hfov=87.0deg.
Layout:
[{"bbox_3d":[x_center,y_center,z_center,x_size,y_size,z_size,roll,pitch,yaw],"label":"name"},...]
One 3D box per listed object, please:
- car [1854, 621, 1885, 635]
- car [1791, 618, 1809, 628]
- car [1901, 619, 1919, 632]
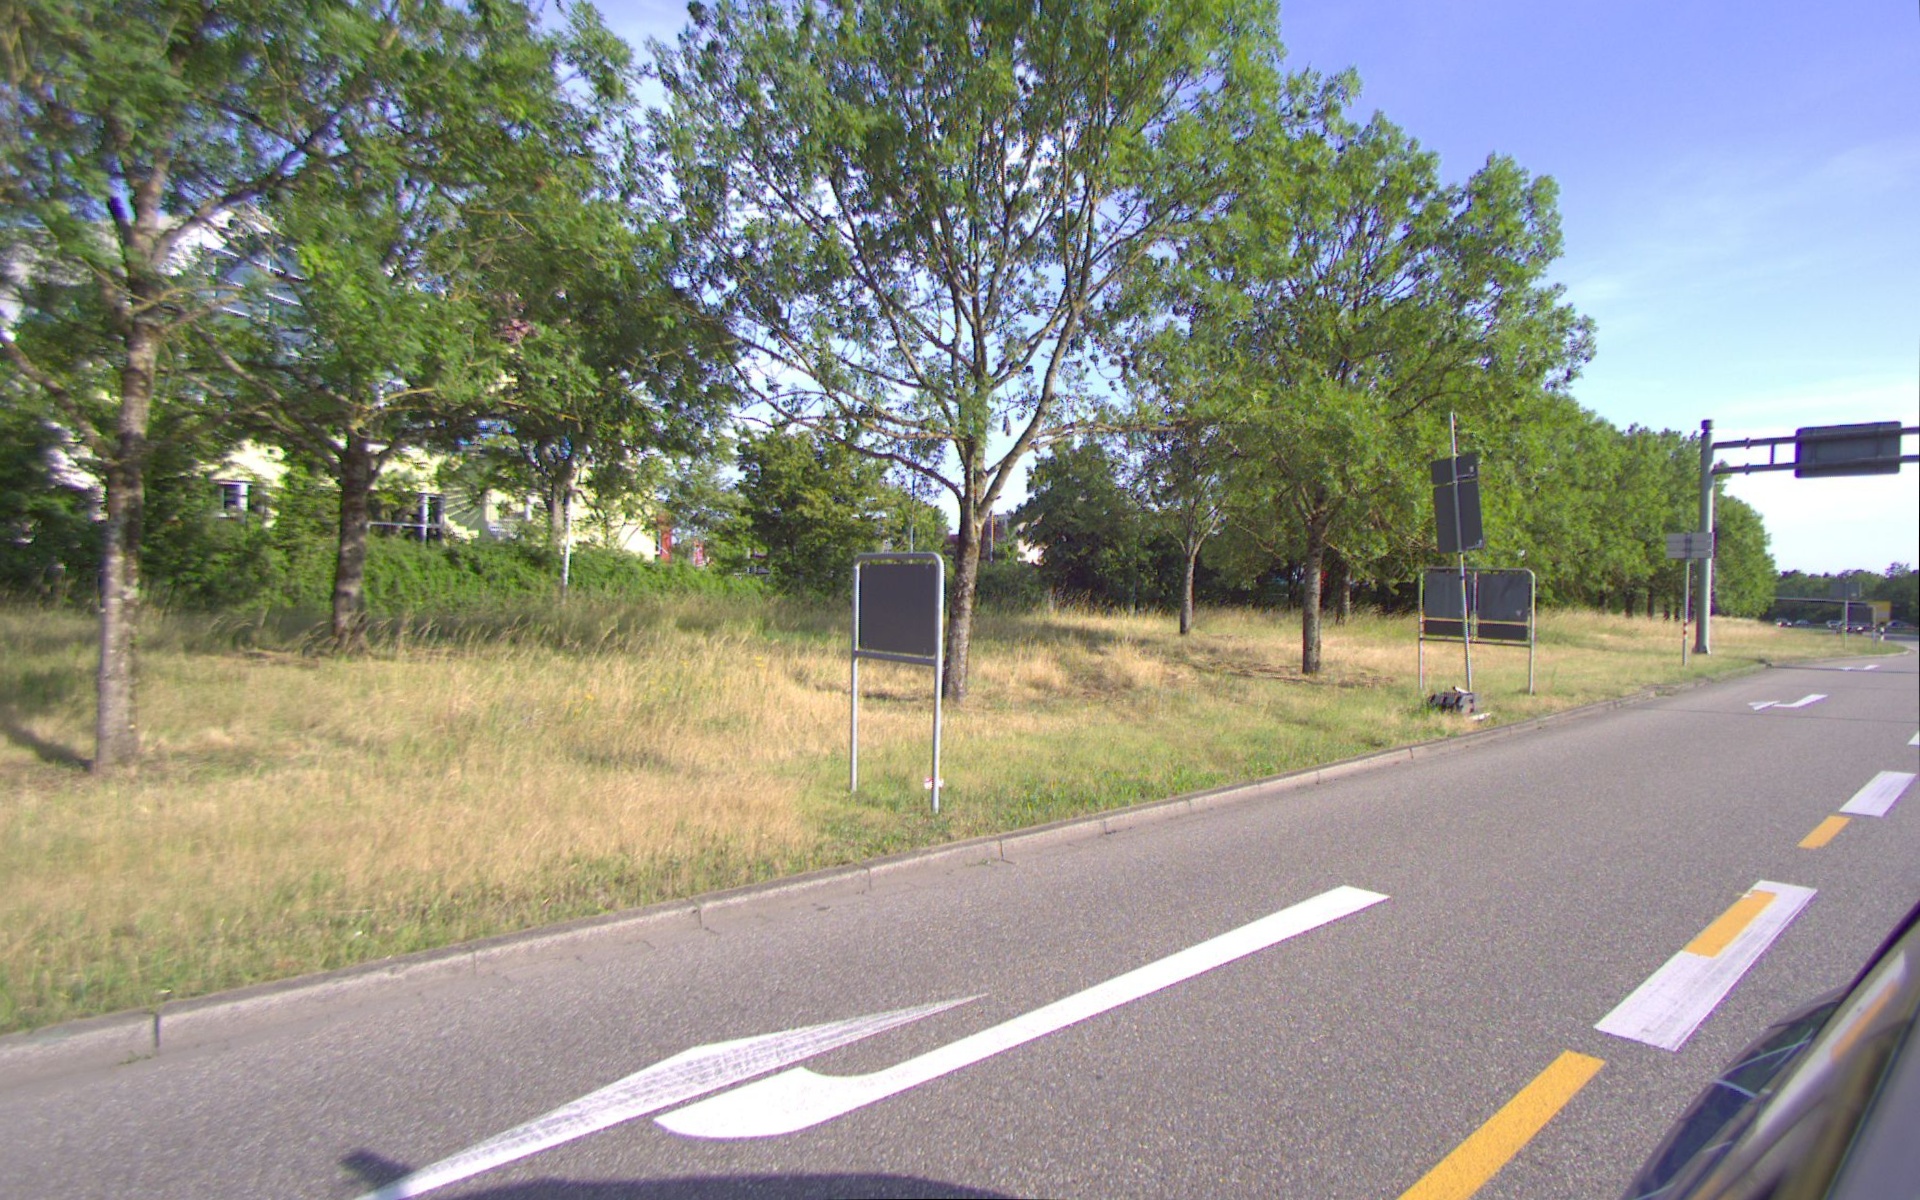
[{"bbox_3d":[94.392,2.889,105.040,1.890,1.403,4.300,0,-1,35],"label":"car"},{"bbox_3d":[137.252,3.724,165.364,1.883,1.474,3.862,2,1,34],"label":"car"},{"bbox_3d":[127.858,3.435,135.885,1.727,1.632,3.476,0,-1,37],"label":"car"}]
